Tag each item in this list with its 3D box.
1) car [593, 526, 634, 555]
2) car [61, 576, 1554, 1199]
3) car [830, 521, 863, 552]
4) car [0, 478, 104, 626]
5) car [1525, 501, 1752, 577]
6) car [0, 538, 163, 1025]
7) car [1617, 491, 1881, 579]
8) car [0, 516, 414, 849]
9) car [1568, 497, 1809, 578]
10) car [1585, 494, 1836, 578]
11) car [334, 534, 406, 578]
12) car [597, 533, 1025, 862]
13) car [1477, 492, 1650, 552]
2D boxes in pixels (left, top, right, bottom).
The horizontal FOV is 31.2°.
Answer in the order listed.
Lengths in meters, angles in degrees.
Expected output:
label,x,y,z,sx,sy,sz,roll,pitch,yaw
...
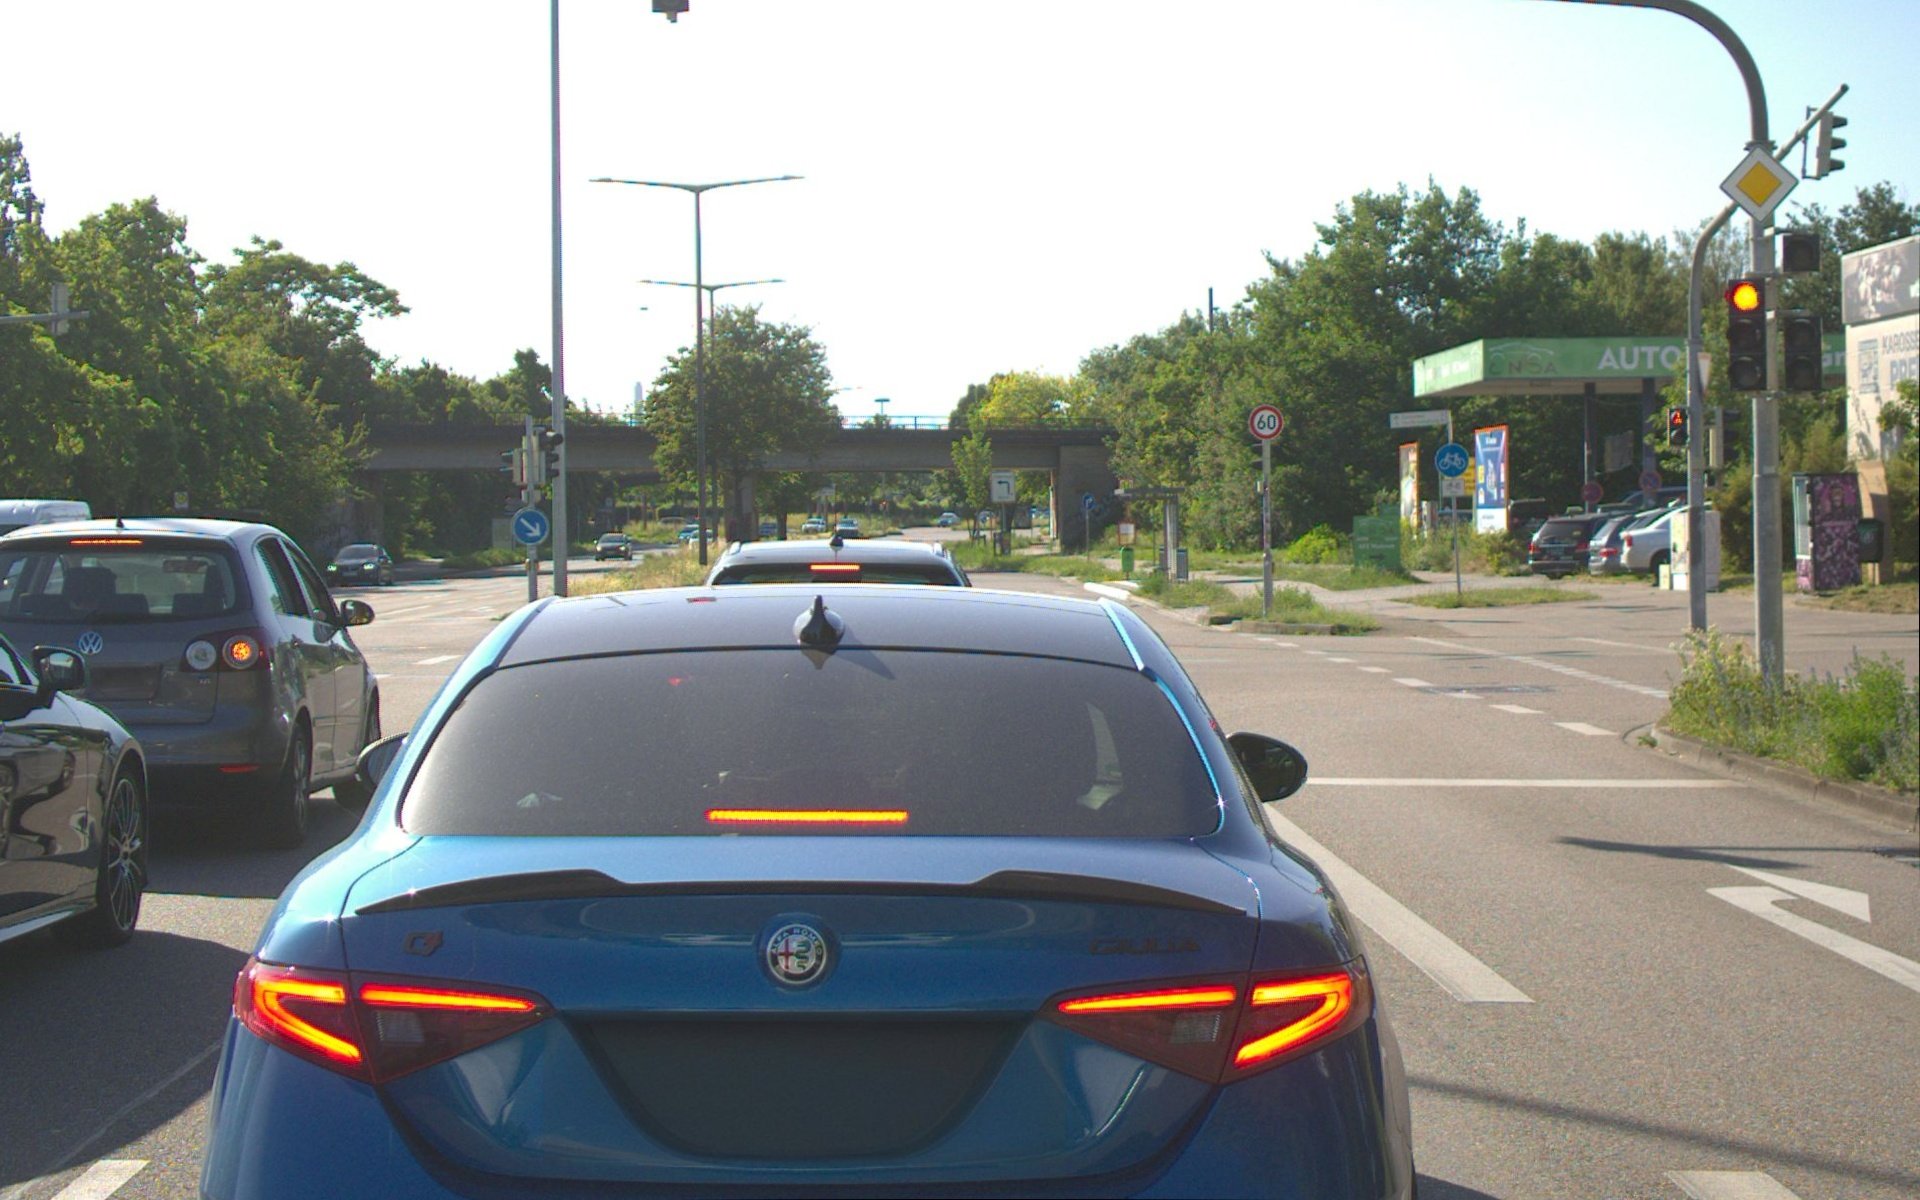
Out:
label,x,y,z,sx,sy,sz,roll,pitch,yaw
car,-19.097,-3.269,189.558,1.759,1.485,4.478,-2,1,0
car,-0.258,0.682,6.596,1.895,1.413,4.403,1,1,-2
car,-6.926,-3.871,209.314,1.891,1.809,4.000,1,1,-1
car,-16.769,-0.788,60.264,2.022,2.439,5.822,-4,1,-1
car,14.602,-1.316,74.142,4.489,1.449,1.858,-2,1,1
car,-3.824,0.541,10.607,1.796,1.485,4.476,1,1,-2
car,14.782,-1.213,64.558,4.489,1.449,1.858,-2,1,1
car,-3.989,0.347,17.706,1.759,1.485,4.403,1,1,-2
car,14.822,-1.268,70.091,4.489,1.449,1.858,-2,1,1
car,14.665,-1.251,67.337,4.489,1.449,1.858,-2,1,1
car,-21.031,-1.584,122.637,1.759,1.485,4.478,-2,1,0
car,-0.713,0.405,17.230,1.850,1.413,4.403,1,1,-2
car,17.051,-2.199,97.305,4.551,1.485,1.765,-2,1,1
